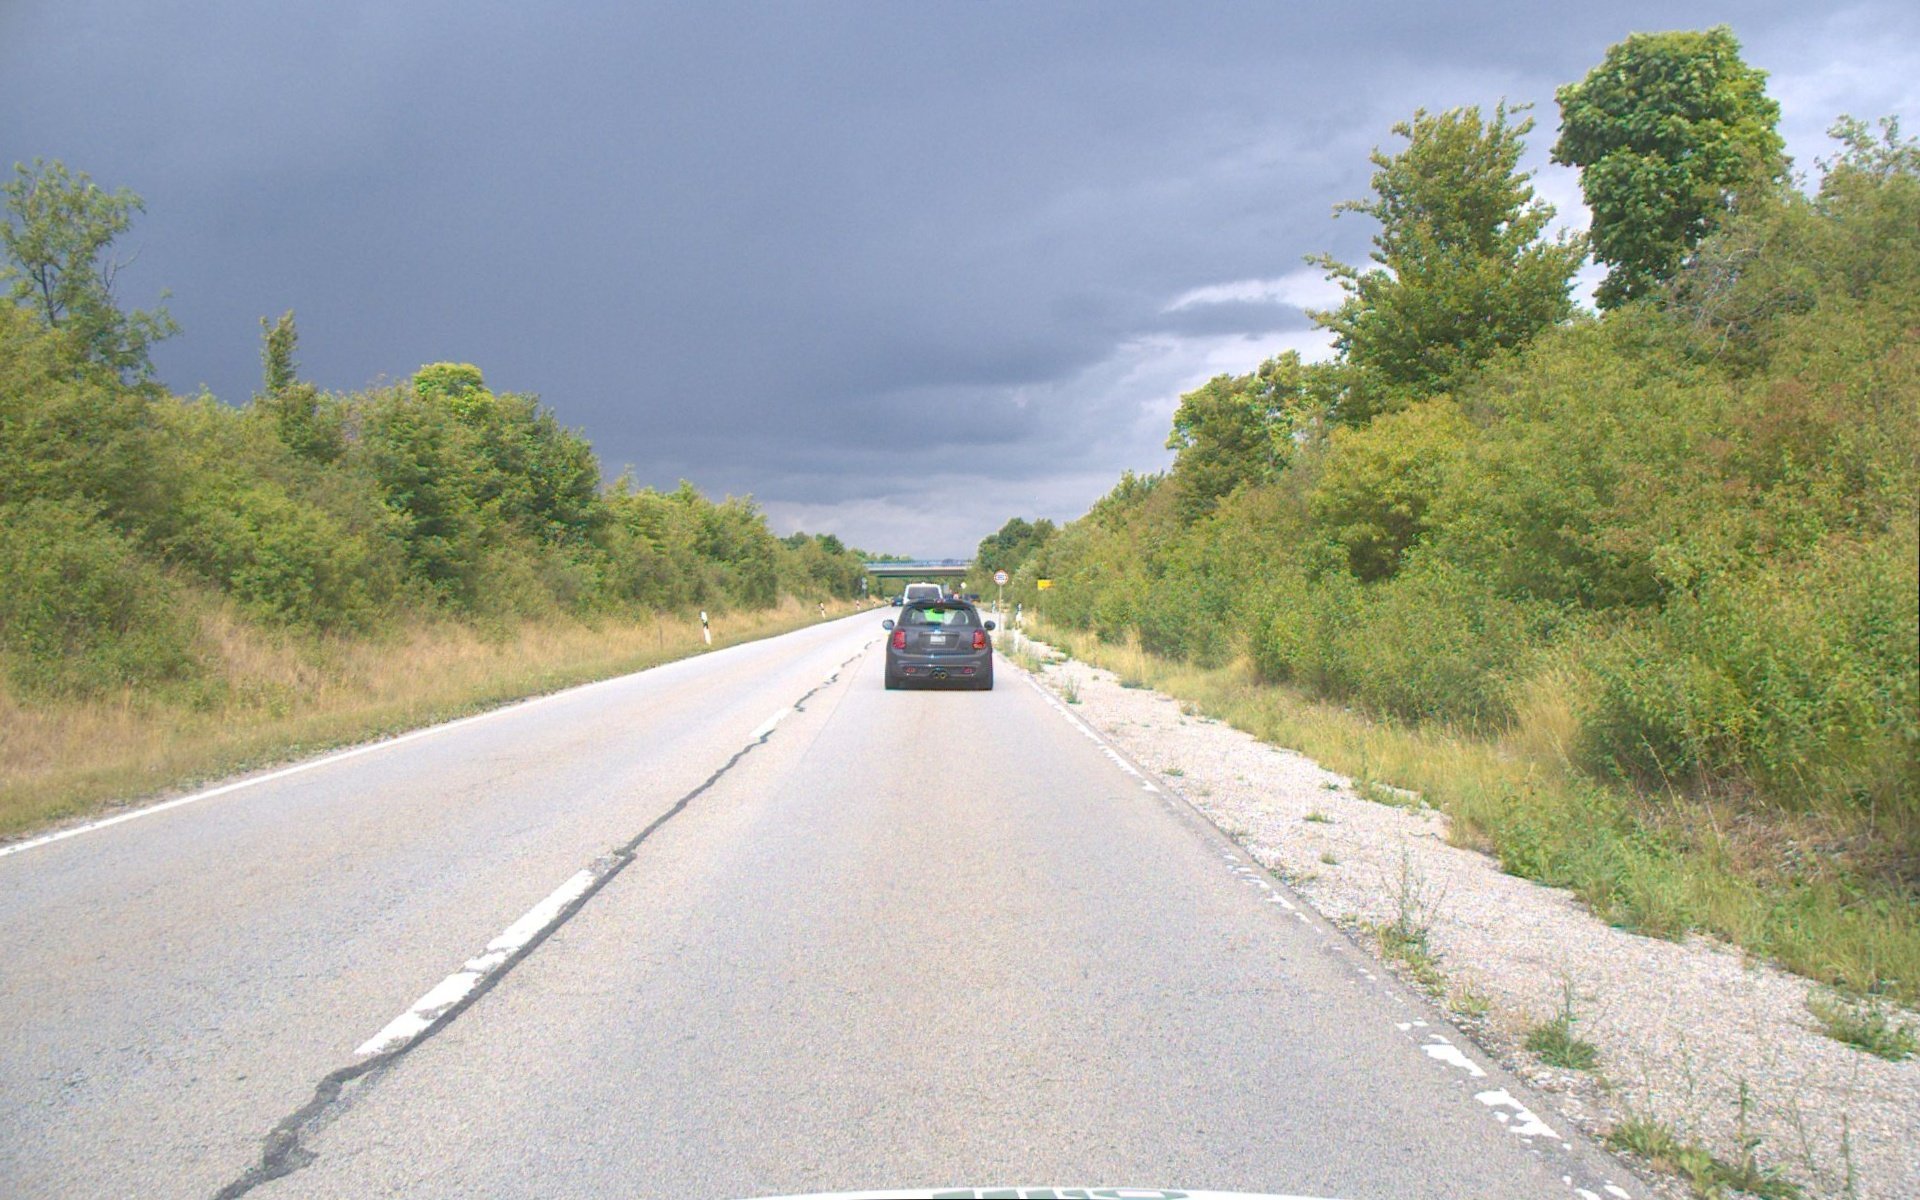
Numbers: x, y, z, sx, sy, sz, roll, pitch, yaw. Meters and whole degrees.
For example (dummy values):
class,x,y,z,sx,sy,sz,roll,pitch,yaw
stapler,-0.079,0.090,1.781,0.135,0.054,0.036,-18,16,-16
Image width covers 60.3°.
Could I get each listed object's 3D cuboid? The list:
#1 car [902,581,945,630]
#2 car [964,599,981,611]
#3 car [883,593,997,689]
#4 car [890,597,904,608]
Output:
class,x,y,z,sx,sy,sz,roll,pitch,yaw
car,-1.598,0.223,72.520,1.782,2.090,3.999,1,0,-1
car,1.548,0.645,211.259,1.954,1.579,3.997,1,0,-3
car,-0.351,0.620,27.338,1.721,1.452,3.999,1,0,-1
car,-7.814,0.264,205.358,1.666,1.353,3.999,-1,0,-2
